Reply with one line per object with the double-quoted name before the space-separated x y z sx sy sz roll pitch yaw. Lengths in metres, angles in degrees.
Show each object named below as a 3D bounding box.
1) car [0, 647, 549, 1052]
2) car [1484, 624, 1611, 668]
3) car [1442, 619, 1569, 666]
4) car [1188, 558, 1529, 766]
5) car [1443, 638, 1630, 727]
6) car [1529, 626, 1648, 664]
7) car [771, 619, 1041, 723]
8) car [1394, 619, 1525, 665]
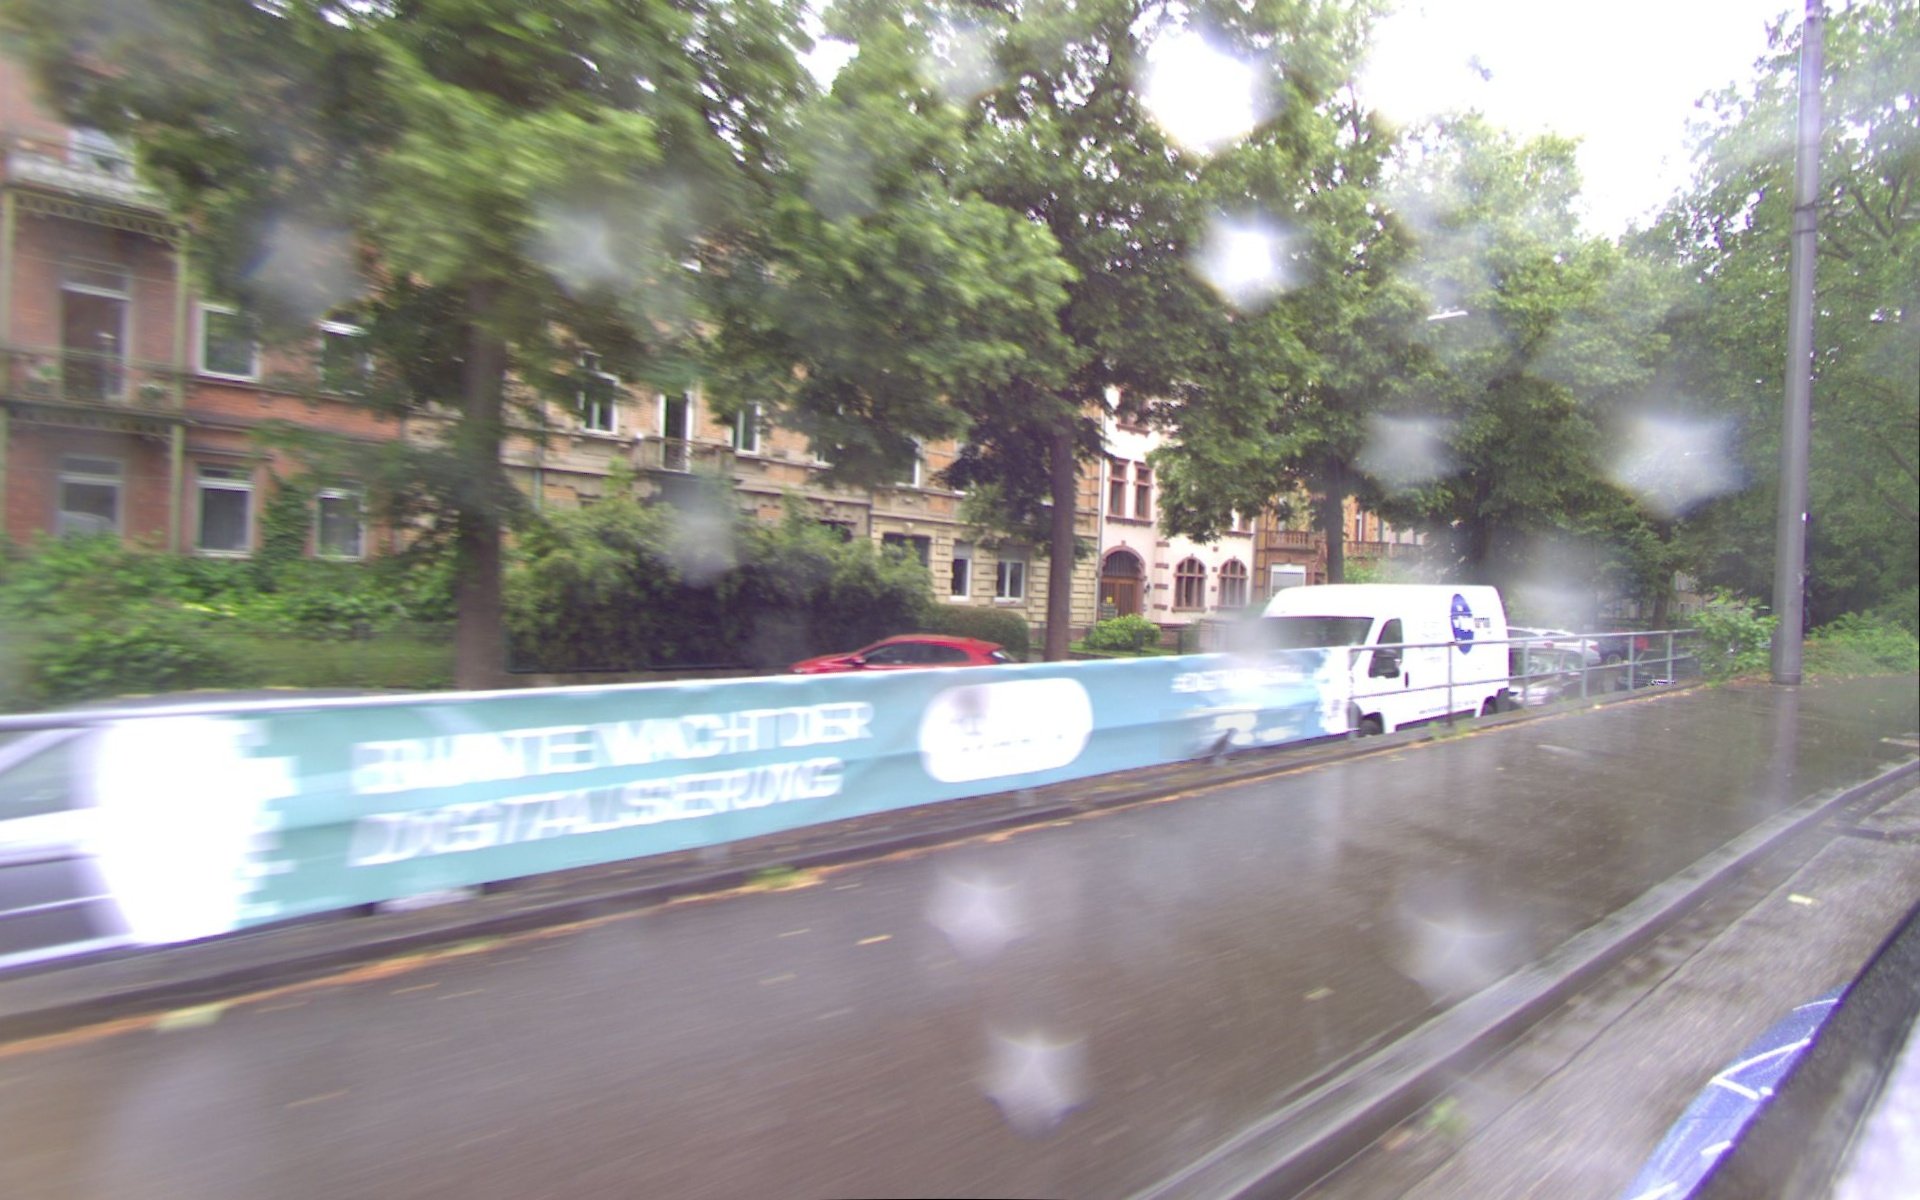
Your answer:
"car" -4.386 1.102 5.035 4.005 1.559 1.734 0 0 -42
"car" 23.197 1.786 40.115 3.943 1.585 1.991 0 0 15
"car" 20.468 1.573 38.131 3.948 1.629 1.814 0 0 19
"car" 6.020 0.738 14.776 6.054 2.451 2.211 0 -1 -43
"car" 11.125 1.481 19.399 4.311 1.370 1.968 0 -1 -44
"car" 27.001 1.925 43.622 3.943 1.482 1.904 0 0 15
"car" -0.923 1.174 17.902 4.373 1.471 1.888 2 0 18
"car" 17.730 1.472 36.149 3.948 1.482 1.988 0 0 19
